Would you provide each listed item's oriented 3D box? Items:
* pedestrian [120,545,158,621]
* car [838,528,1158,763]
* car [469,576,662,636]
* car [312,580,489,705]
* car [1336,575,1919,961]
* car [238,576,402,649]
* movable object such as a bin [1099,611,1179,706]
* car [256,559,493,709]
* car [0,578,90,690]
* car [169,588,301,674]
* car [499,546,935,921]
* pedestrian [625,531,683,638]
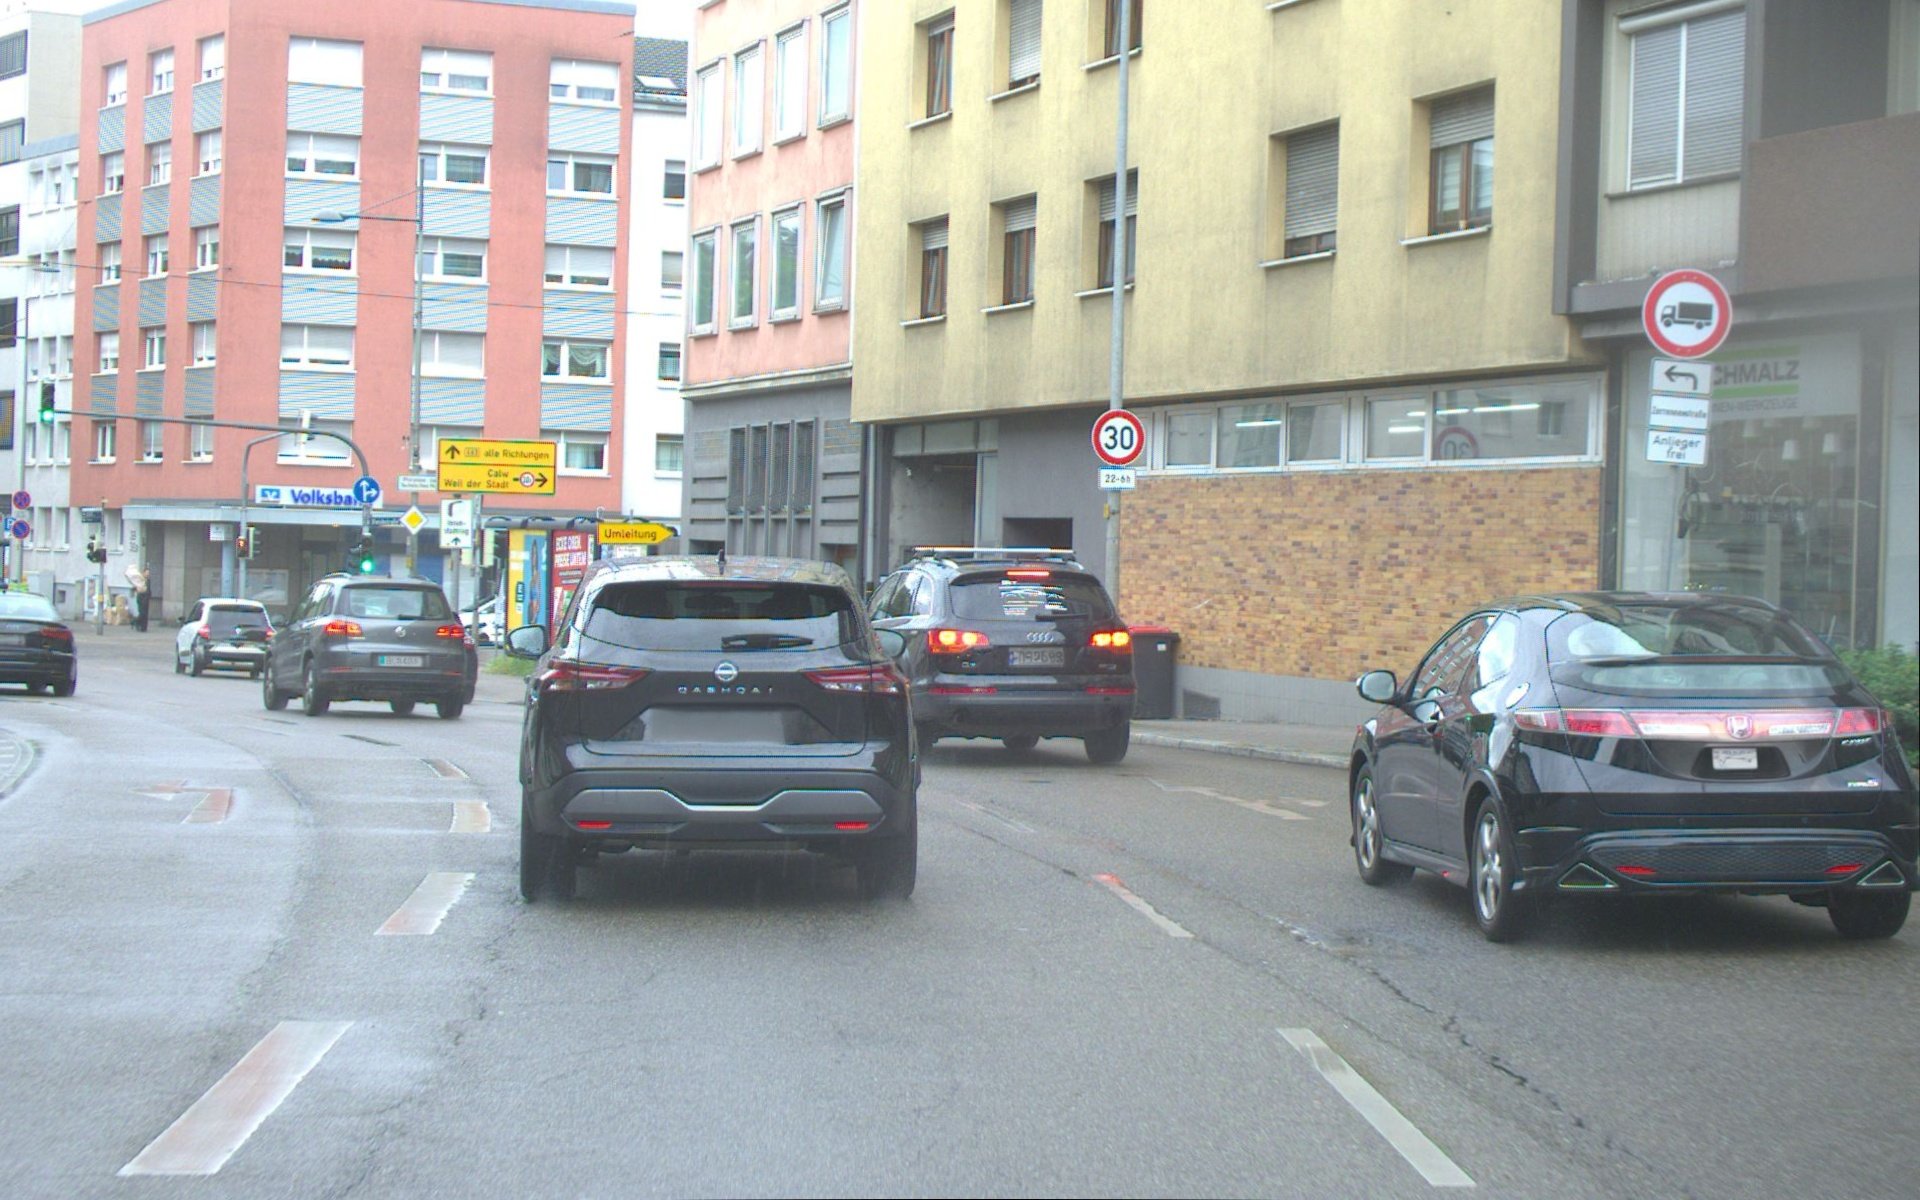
[{"bbox_3d":[-23.828,-0.506,99.727,0.825,2.151,0.770,3,0,-24],"label":"pedestrian"},{"bbox_3d":[0.226,0.343,29.953,2.020,1.863,4.900,1,0,-8],"label":"car"},{"bbox_3d":[-10.369,0.154,90.299,4.649,1.481,1.920,1,1,-25],"label":"car"},{"bbox_3d":[-8.725,0.624,53.403,1.945,1.810,4.001,-1,1,-21],"label":"car"},{"bbox_3d":[2.931,0.645,15.447,1.783,1.491,4.057,0,0,-4],"label":"car"},{"bbox_3d":[-14.699,0.304,79.156,1.995,1.514,3.996,3,0,17],"label":"car"},{"bbox_3d":[2.066,0.677,39.719,0.680,1.073,0.668,1,0,-22],"label":"movable object such as a bin"},{"bbox_3d":[-7.027,0.355,40.955,1.945,1.679,4.001,-1,1,-22],"label":"car"},{"bbox_3d":[-13.471,0.408,47.632,1.993,1.383,4.501,3,0,-23],"label":"car"},{"bbox_3d":[-14.337,0.592,67.841,1.993,1.481,4.001,3,0,-19],"label":"car"},{"bbox_3d":[-1.281,0.553,17.004,1.894,1.623,4.001,0,1,-6],"label":"car"},{"bbox_3d":[-5.180,-0.270,58.165,0.672,1.781,1.095,2,0,-19],"label":"pedestrian"}]
